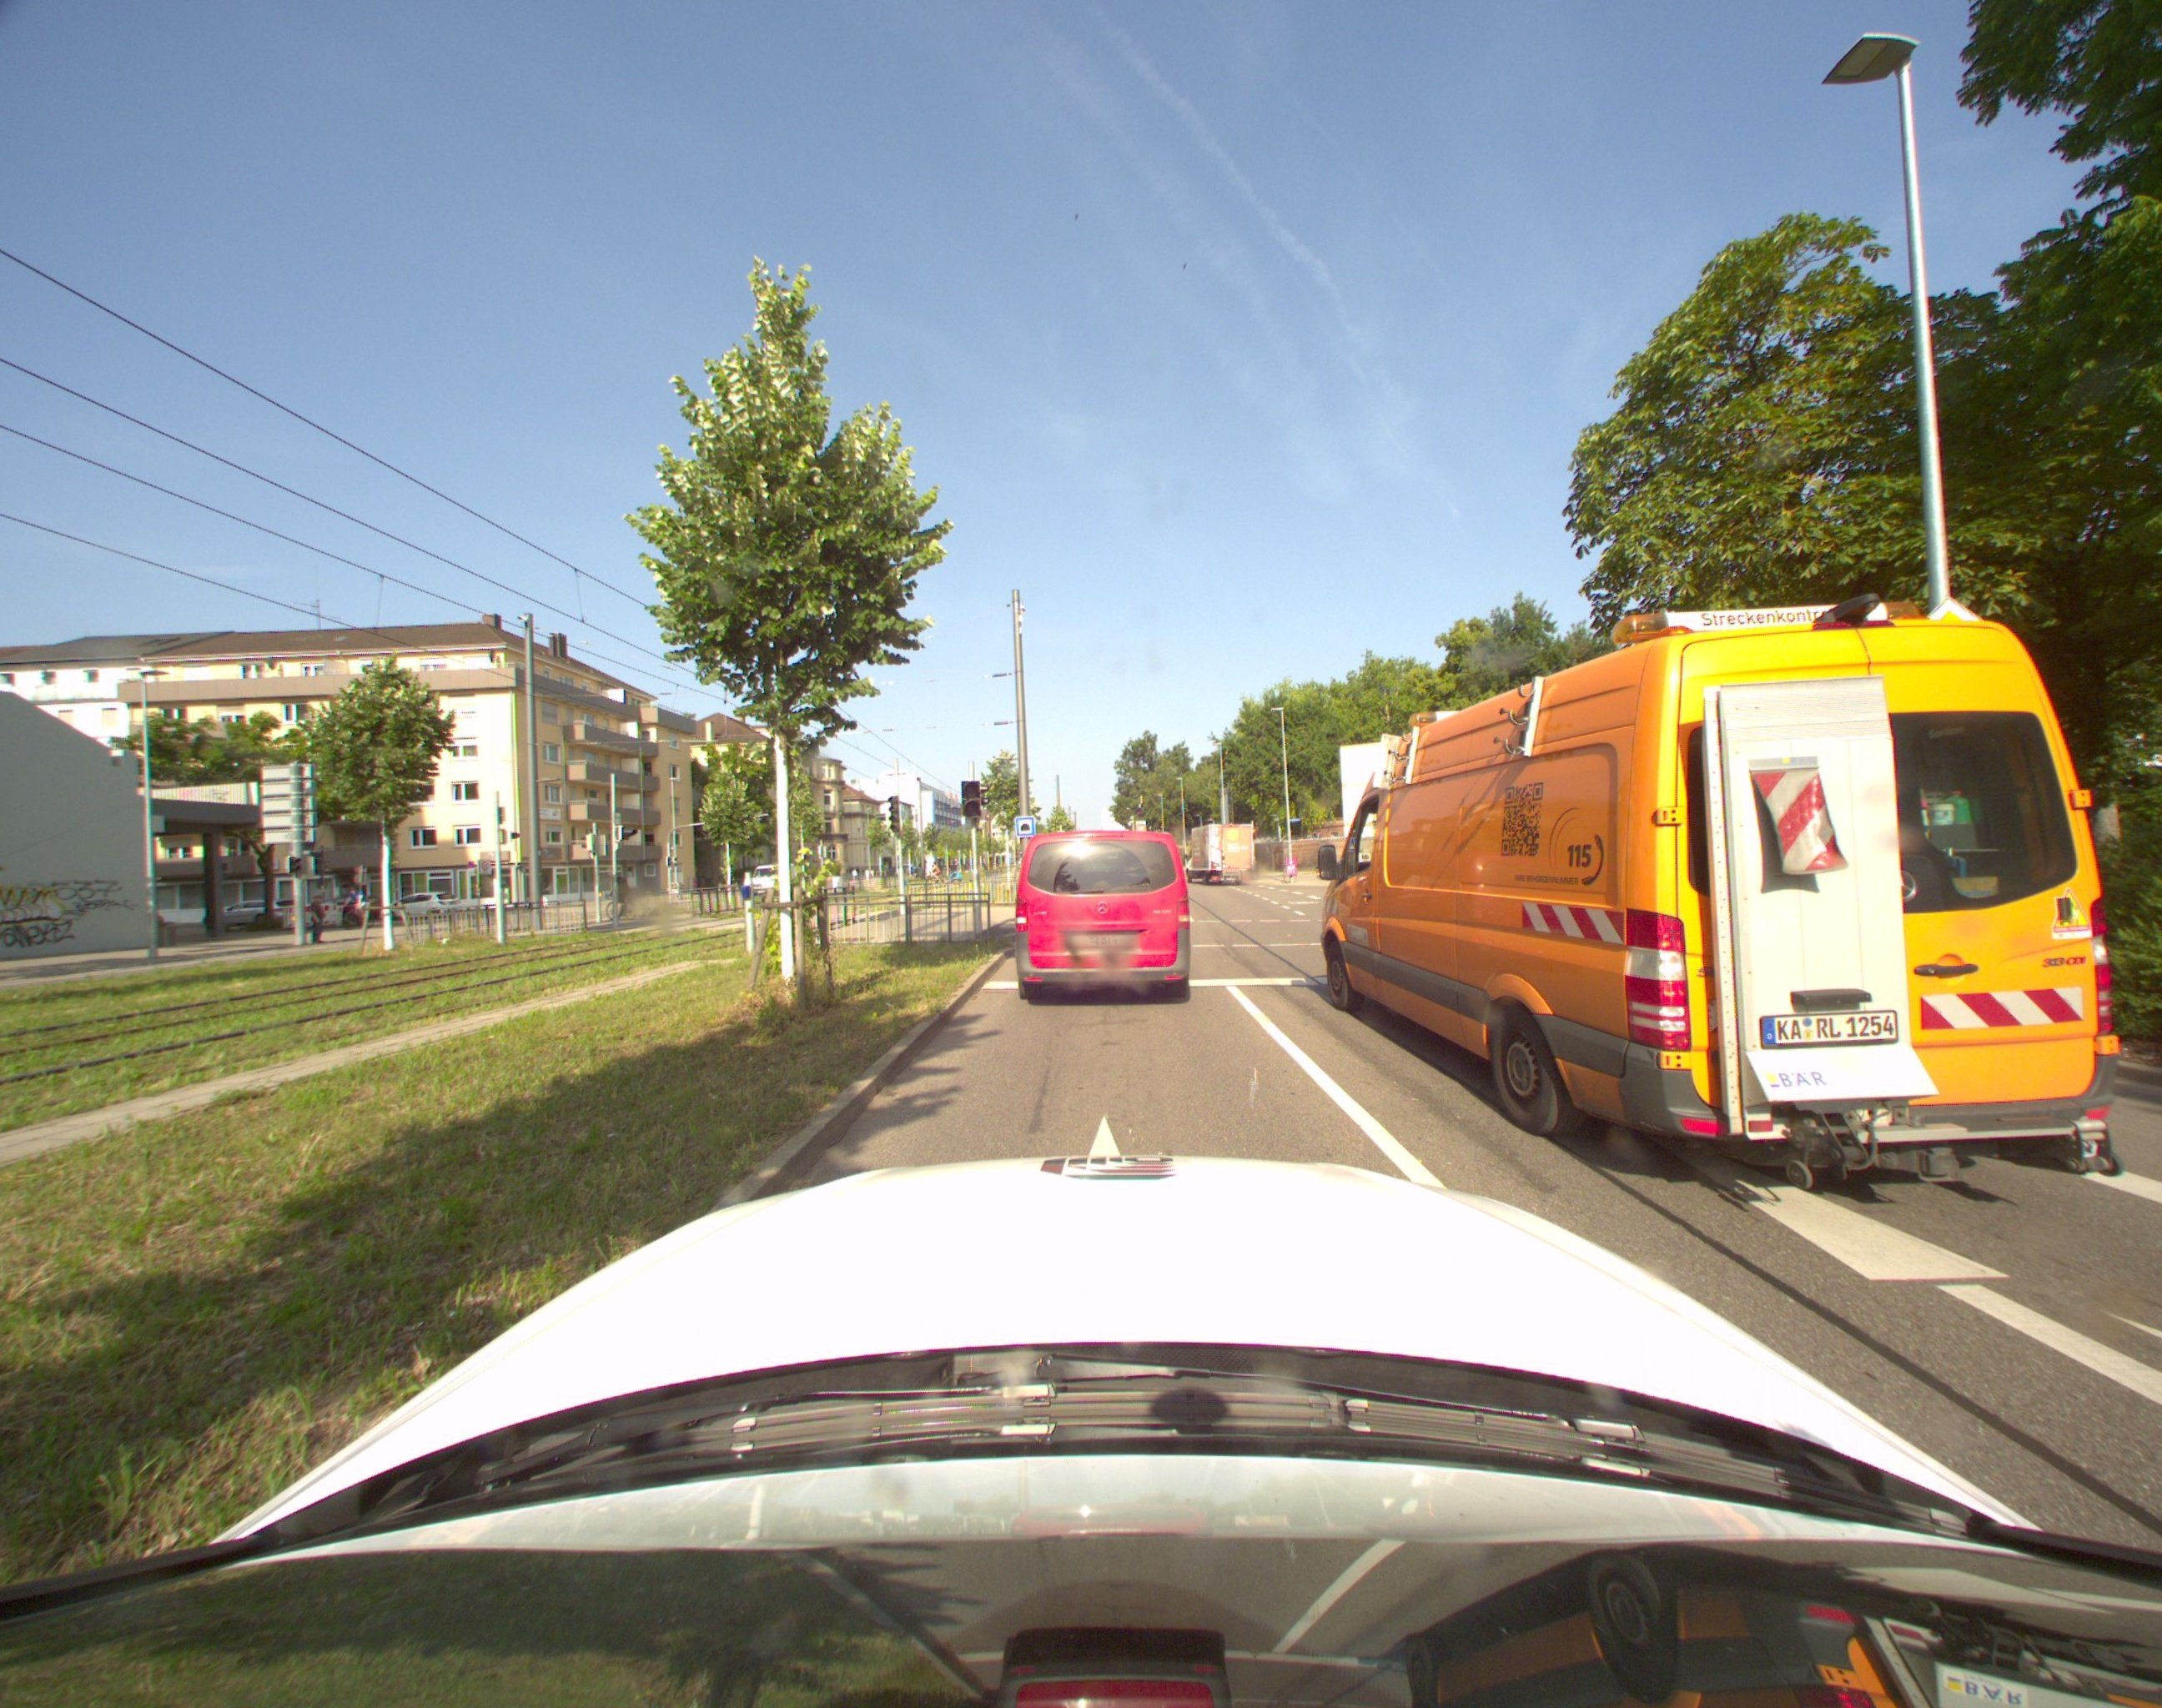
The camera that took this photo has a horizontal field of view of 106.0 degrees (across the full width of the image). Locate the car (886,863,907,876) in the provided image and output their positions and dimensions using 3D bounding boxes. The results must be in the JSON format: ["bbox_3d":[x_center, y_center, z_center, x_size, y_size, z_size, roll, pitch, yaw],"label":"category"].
[{"bbox_3d":[-26.047,2.148,115.050,1.736,1.673,4.002,-3,0,2],"label":"car"}]

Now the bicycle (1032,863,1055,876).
[{"bbox_3d":[-2.426,1.015,52.890,0.711,0.798,1.613,-1,-1,29],"label":"bicycle"}]

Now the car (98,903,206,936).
[{"bbox_3d":[-53.708,3.763,47.126,3.932,1.604,1.813,-3,-1,-4],"label":"car"}]

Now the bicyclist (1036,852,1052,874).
[{"bbox_3d":[-2.404,0.568,52.959,0.679,1.440,0.811,-1,-1,29],"label":"bicyclist"}]

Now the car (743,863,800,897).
[{"bbox_3d":[-22.690,1.857,59.948,2.039,2.238,5.334,-2,0,0],"label":"car"}]

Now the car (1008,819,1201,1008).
[{"bbox_3d":[0.313,0.603,10.106,1.894,1.859,4.002,-1,0,2],"label":"car"}]

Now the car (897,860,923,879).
[{"bbox_3d":[-20.028,1.844,95.397,1.986,2.013,4.001,-4,-1,2],"label":"car"}]

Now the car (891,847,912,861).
[{"bbox_3d":[-29.159,-0.021,132.246,2.243,2.014,5.260,0,-2,-1],"label":"car"}]

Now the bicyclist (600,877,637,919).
[{"bbox_3d":[-16.477,1.562,29.042,0.962,1.395,0.549,-5,0,21],"label":"bicyclist"}]

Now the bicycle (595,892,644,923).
[{"bbox_3d":[-16.470,1.911,29.060,1.593,0.935,0.560,-5,0,21],"label":"bicycle"}]

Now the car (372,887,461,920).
[{"bbox_3d":[-38.820,2.903,47.669,3.614,1.583,1.708,-3,2,-3],"label":"car"}]

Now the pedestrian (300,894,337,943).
[{"bbox_3d":[-27.374,2.298,29.236,0.655,1.690,0.646,-3,-1,4],"label":"pedestrian"}]

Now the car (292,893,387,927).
[{"bbox_3d":[-43.361,3.246,47.670,3.778,1.688,1.773,-3,-1,-3],"label":"car"}]

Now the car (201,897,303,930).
[{"bbox_3d":[-48.316,3.477,47.538,3.930,1.604,1.814,-3,-1,-3],"label":"car"}]

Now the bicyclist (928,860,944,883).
[{"bbox_3d":[-10.338,1.239,58.084,0.886,1.628,0.893,-3,-1,3],"label":"bicyclist"}]

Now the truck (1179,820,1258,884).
[{"bbox_3d":[7.156,-0.044,43.510,2.496,3.061,7.810,0,-1,-3],"label":"truck"}]

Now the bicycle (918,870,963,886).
[{"bbox_3d":[-9.993,1.713,58.044,2.975,0.965,0.901,-2,-1,3],"label":"bicycle"}]

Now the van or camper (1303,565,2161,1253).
[{"bbox_3d":[3.382,0.239,5.985,1.978,2.472,6.063,-1,-1,2],"label":"van or camper"}]
